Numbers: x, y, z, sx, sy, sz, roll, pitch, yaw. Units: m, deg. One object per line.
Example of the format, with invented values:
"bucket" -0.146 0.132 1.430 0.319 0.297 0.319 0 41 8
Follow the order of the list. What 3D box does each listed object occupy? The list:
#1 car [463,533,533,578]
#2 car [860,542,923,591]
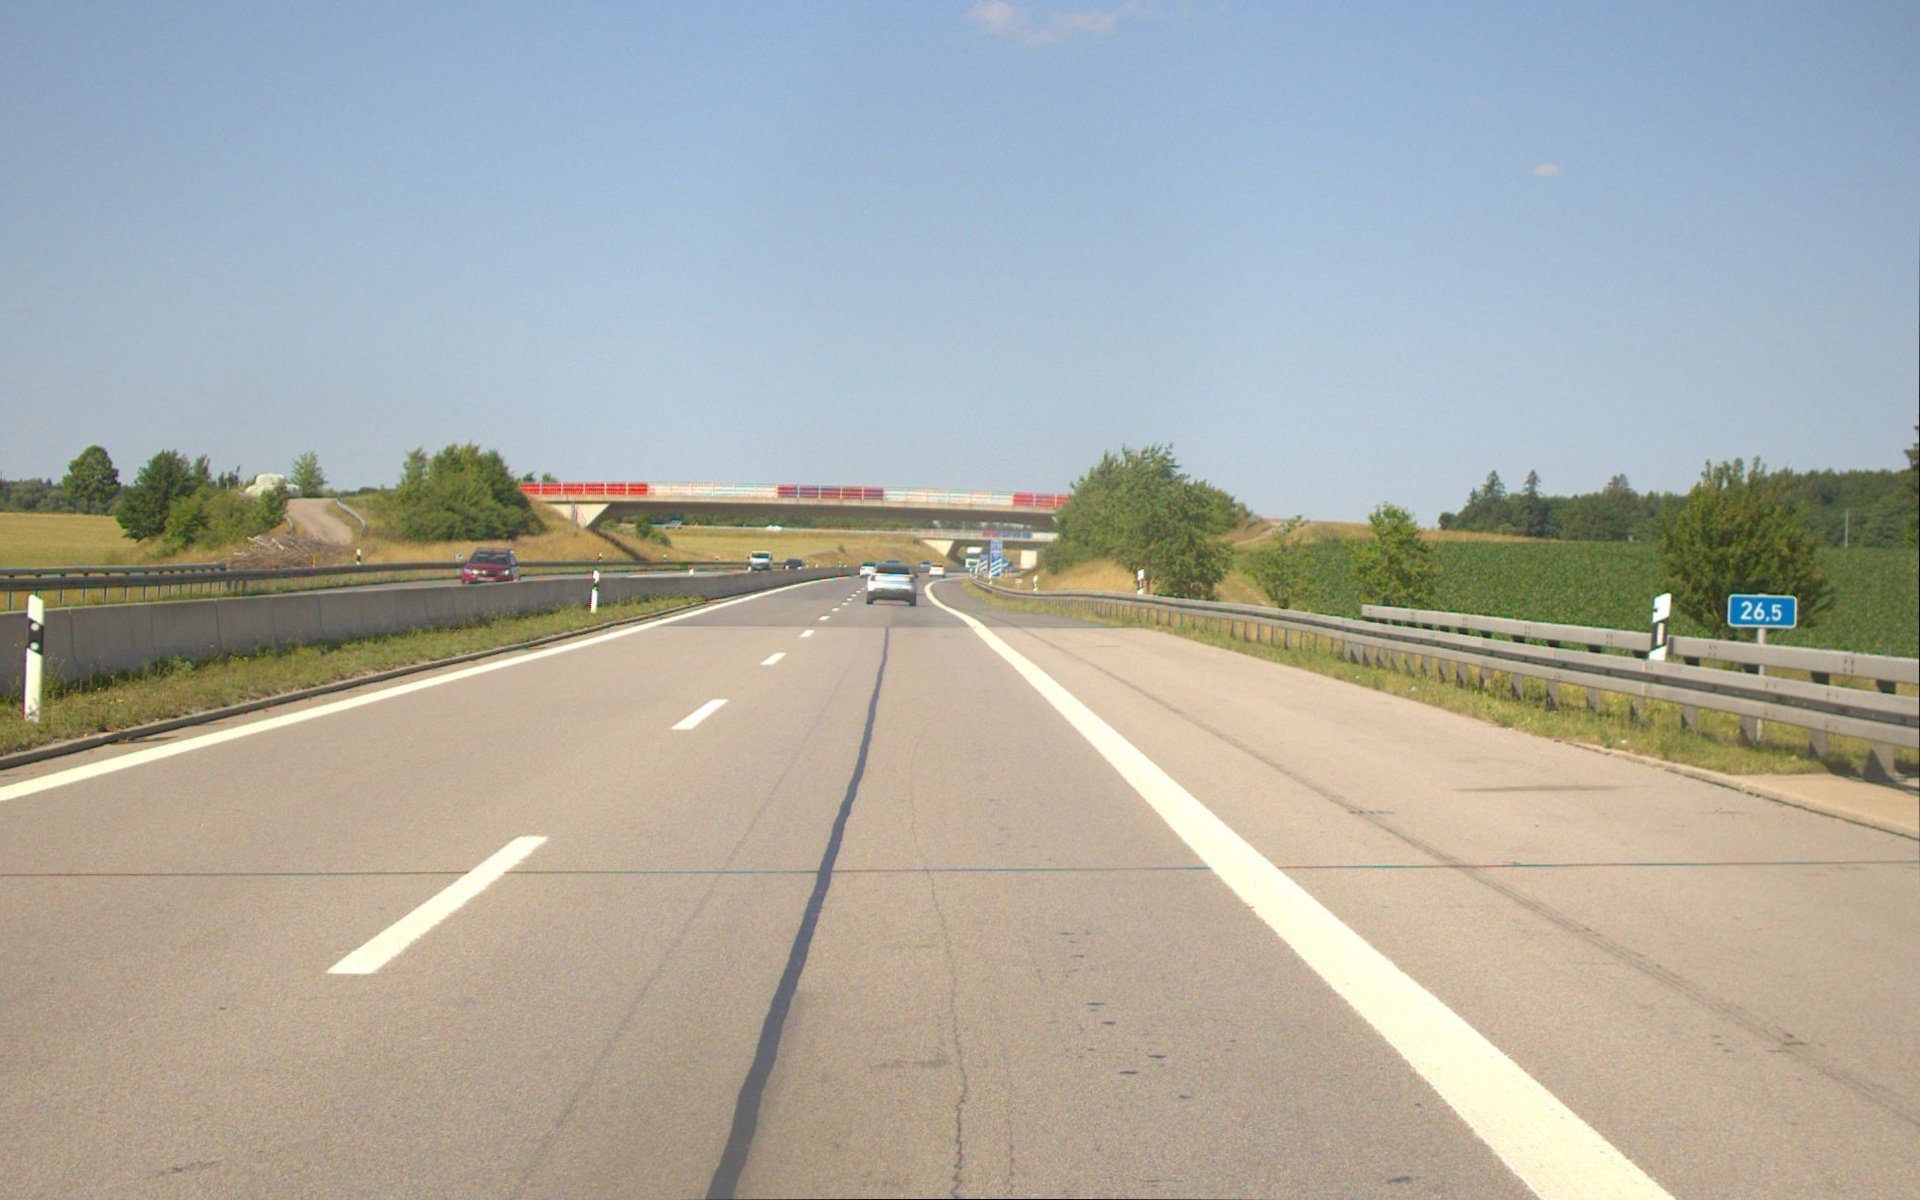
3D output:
"car" -16.330 -1.577 121.668 1.898 1.518 4.806 -1 1 -1
"car" -2.555 -1.252 127.166 1.993 1.725 4.870 1 1 -5
